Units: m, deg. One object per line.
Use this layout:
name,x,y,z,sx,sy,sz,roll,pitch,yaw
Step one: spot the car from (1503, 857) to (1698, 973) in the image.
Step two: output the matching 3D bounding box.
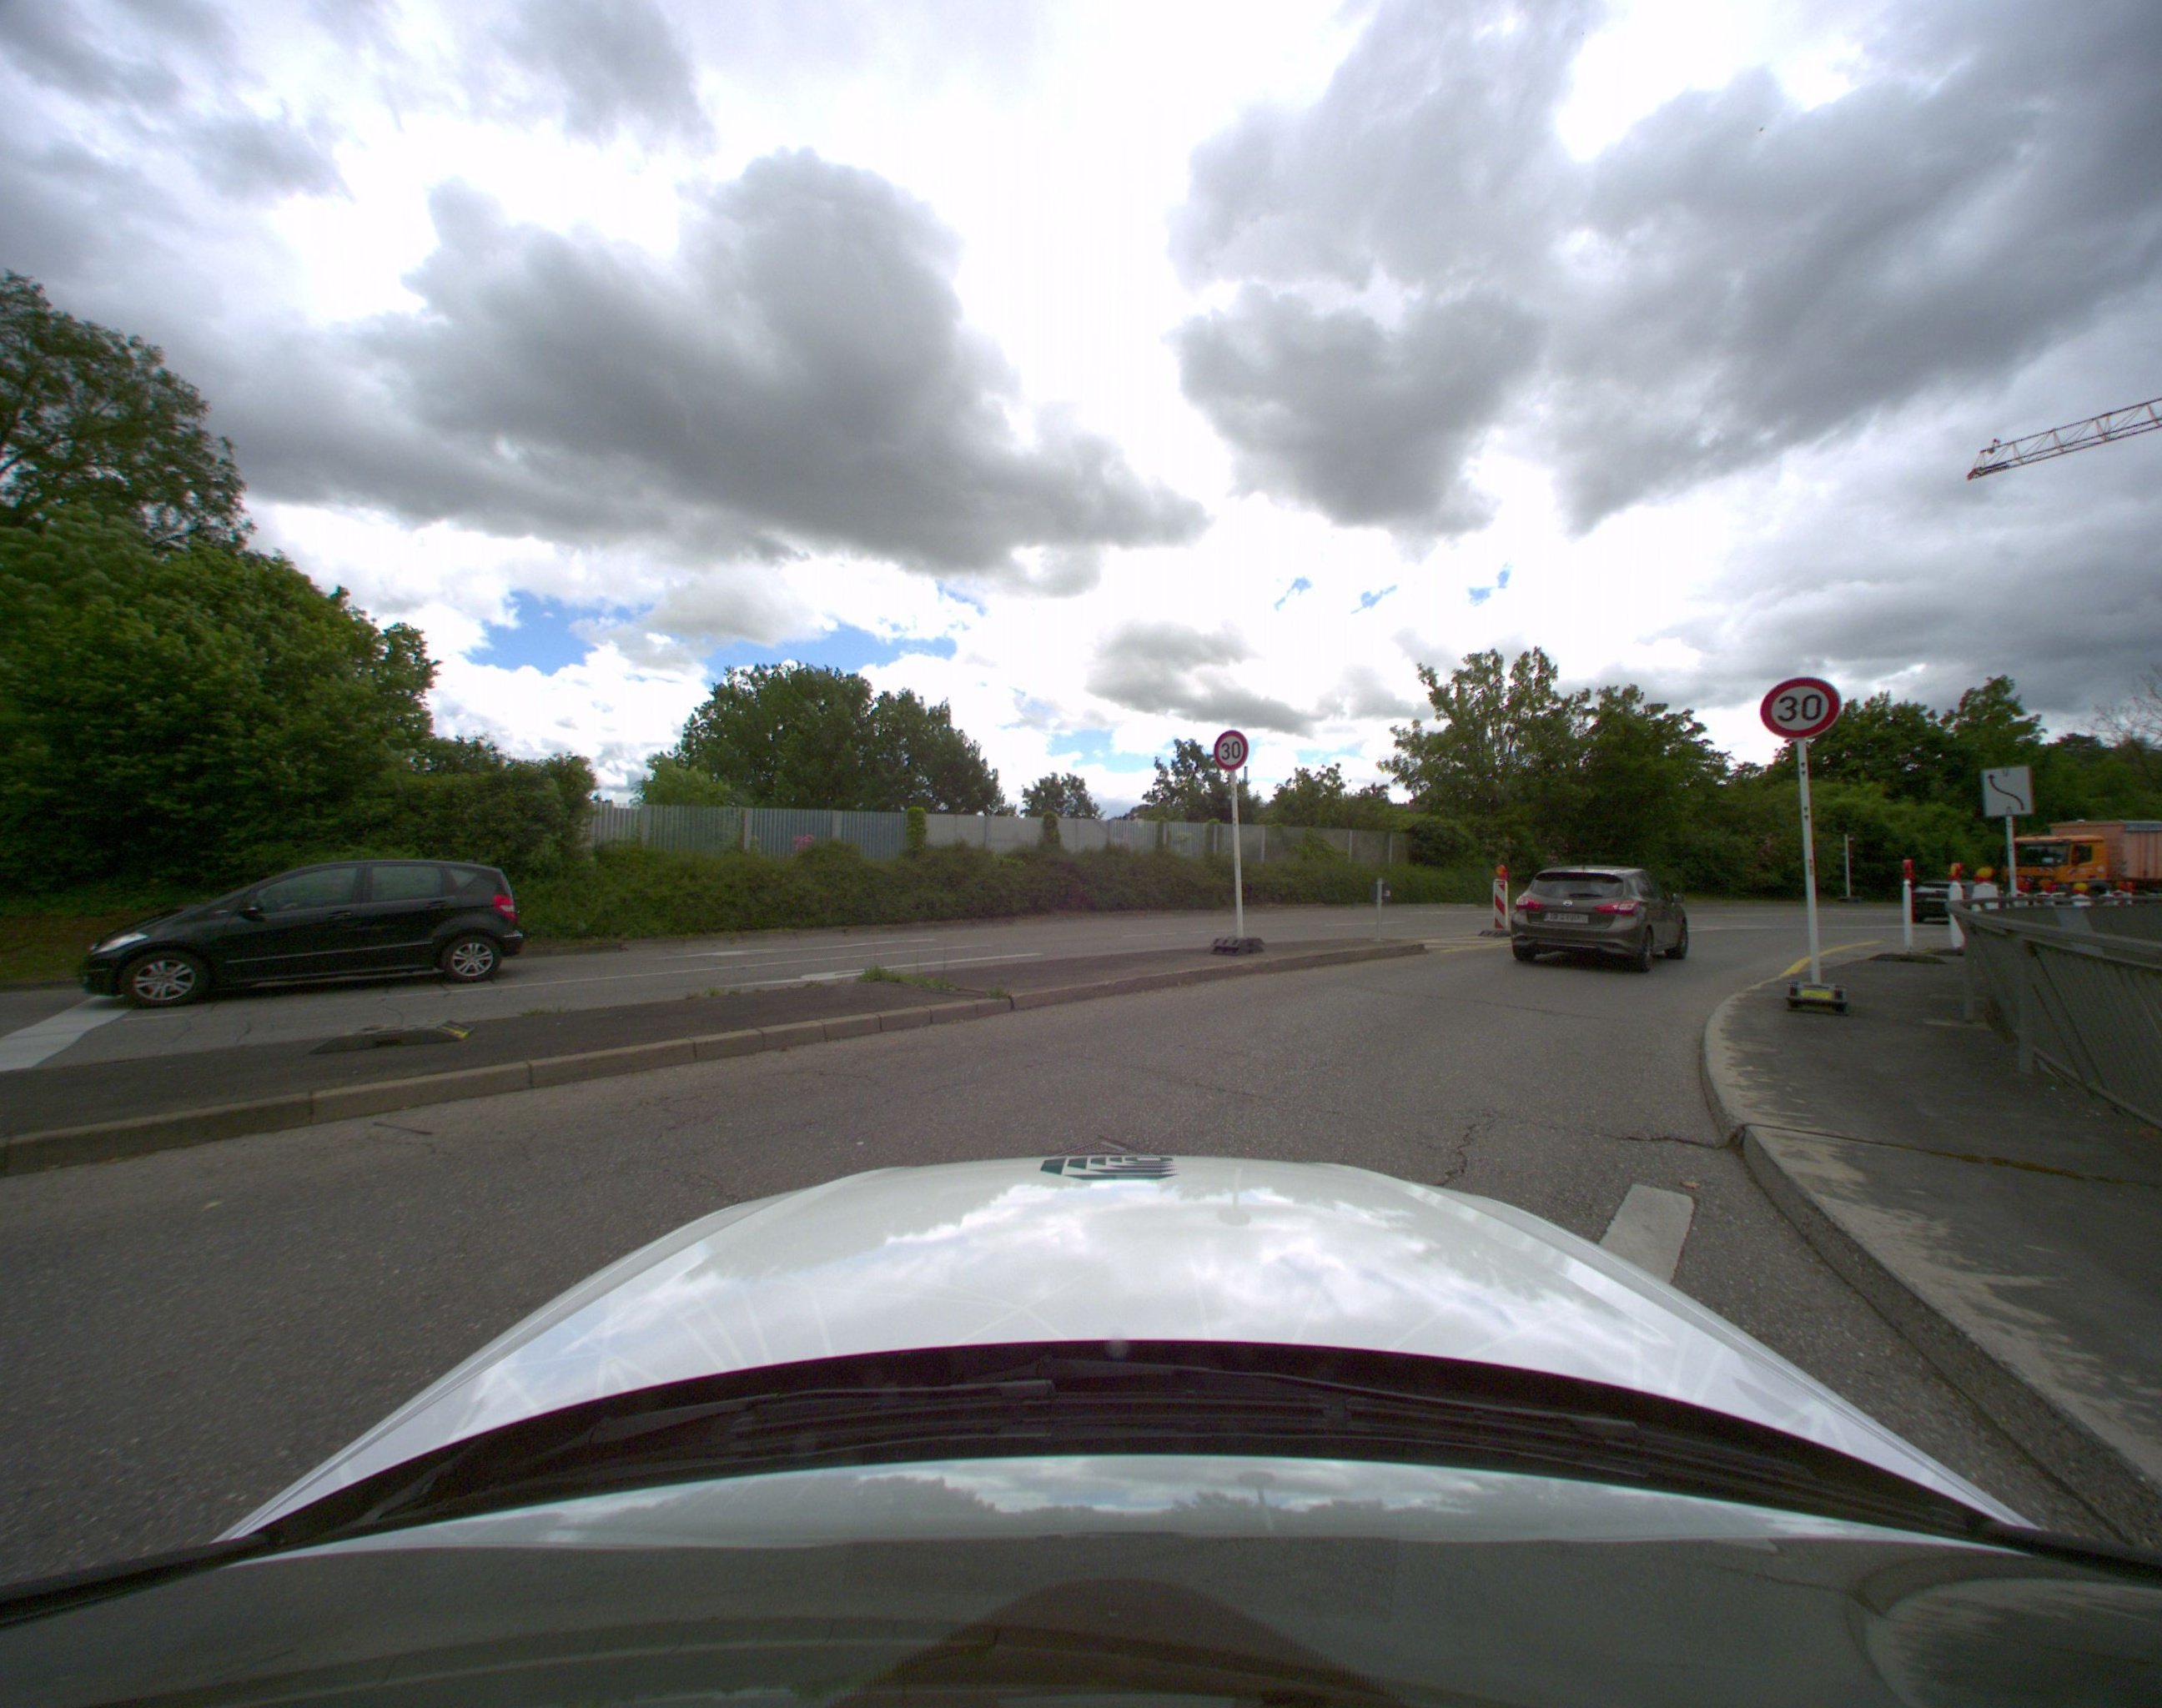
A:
car,8.383,0.830,12.994,4.023,1.552,1.781,0,-1,-45

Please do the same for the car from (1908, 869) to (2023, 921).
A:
car,29.075,1.294,26.753,3.800,1.552,1.808,1,0,-31

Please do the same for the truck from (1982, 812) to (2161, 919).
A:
truck,44.457,0.514,34.314,9.730,4.221,3.119,1,-1,-1

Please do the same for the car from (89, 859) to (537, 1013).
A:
car,-9.179,0.865,10.153,3.809,1.552,1.623,0,-2,-42
